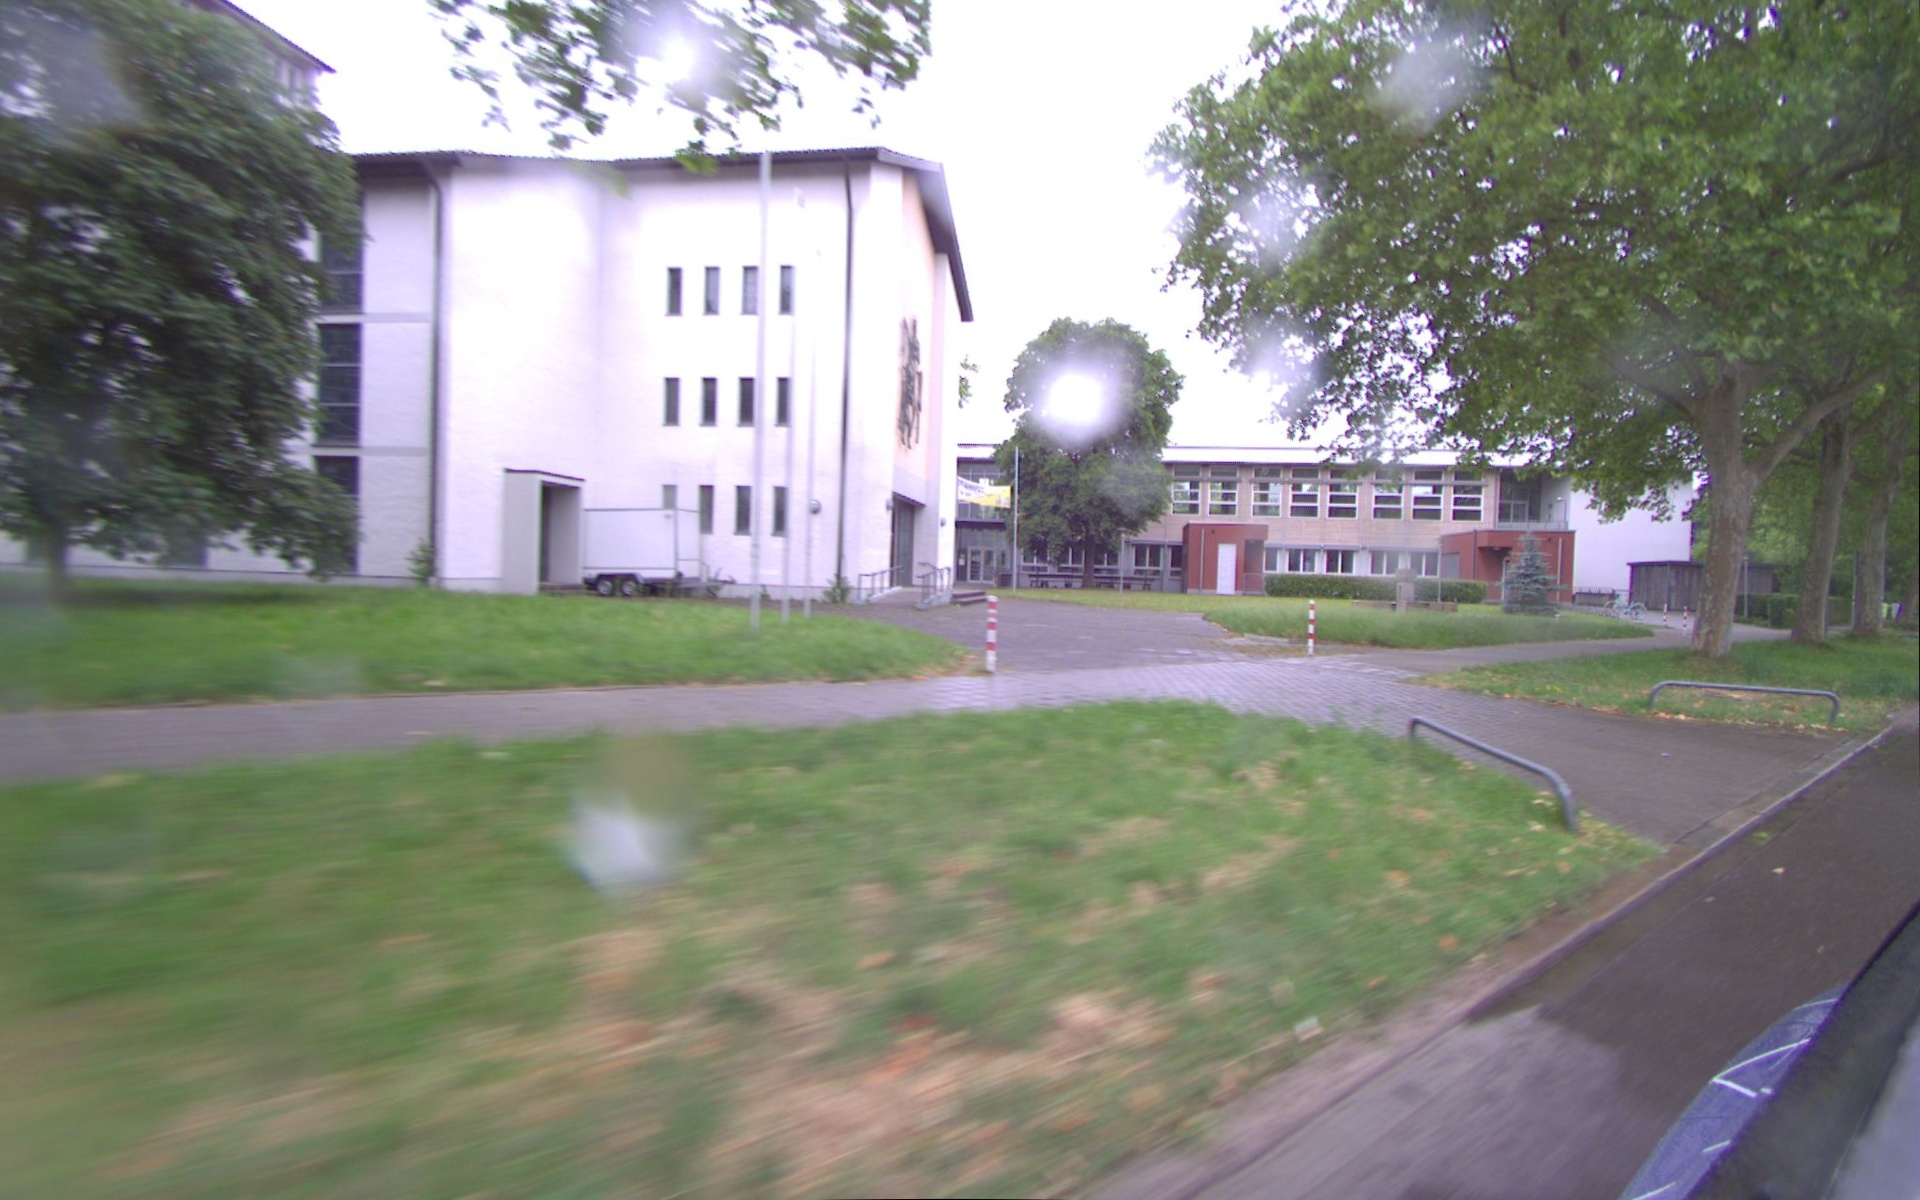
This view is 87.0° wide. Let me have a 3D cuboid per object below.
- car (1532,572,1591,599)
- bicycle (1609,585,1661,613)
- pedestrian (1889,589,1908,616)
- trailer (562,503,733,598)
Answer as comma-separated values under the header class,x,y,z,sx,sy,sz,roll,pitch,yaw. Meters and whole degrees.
class,x,y,z,sx,sy,sz,roll,pitch,yaw
car,34.227,-0.838,57.692,1.721,1.469,3.572,1,2,10
bicycle,30.533,-0.048,45.774,1.902,1.135,0.521,3,3,2
pedestrian,55.734,0.143,60.092,0.575,1.557,0.747,1,2,-42
trailer,-8.354,-1.334,27.201,3.955,2.337,1.887,2,2,10
